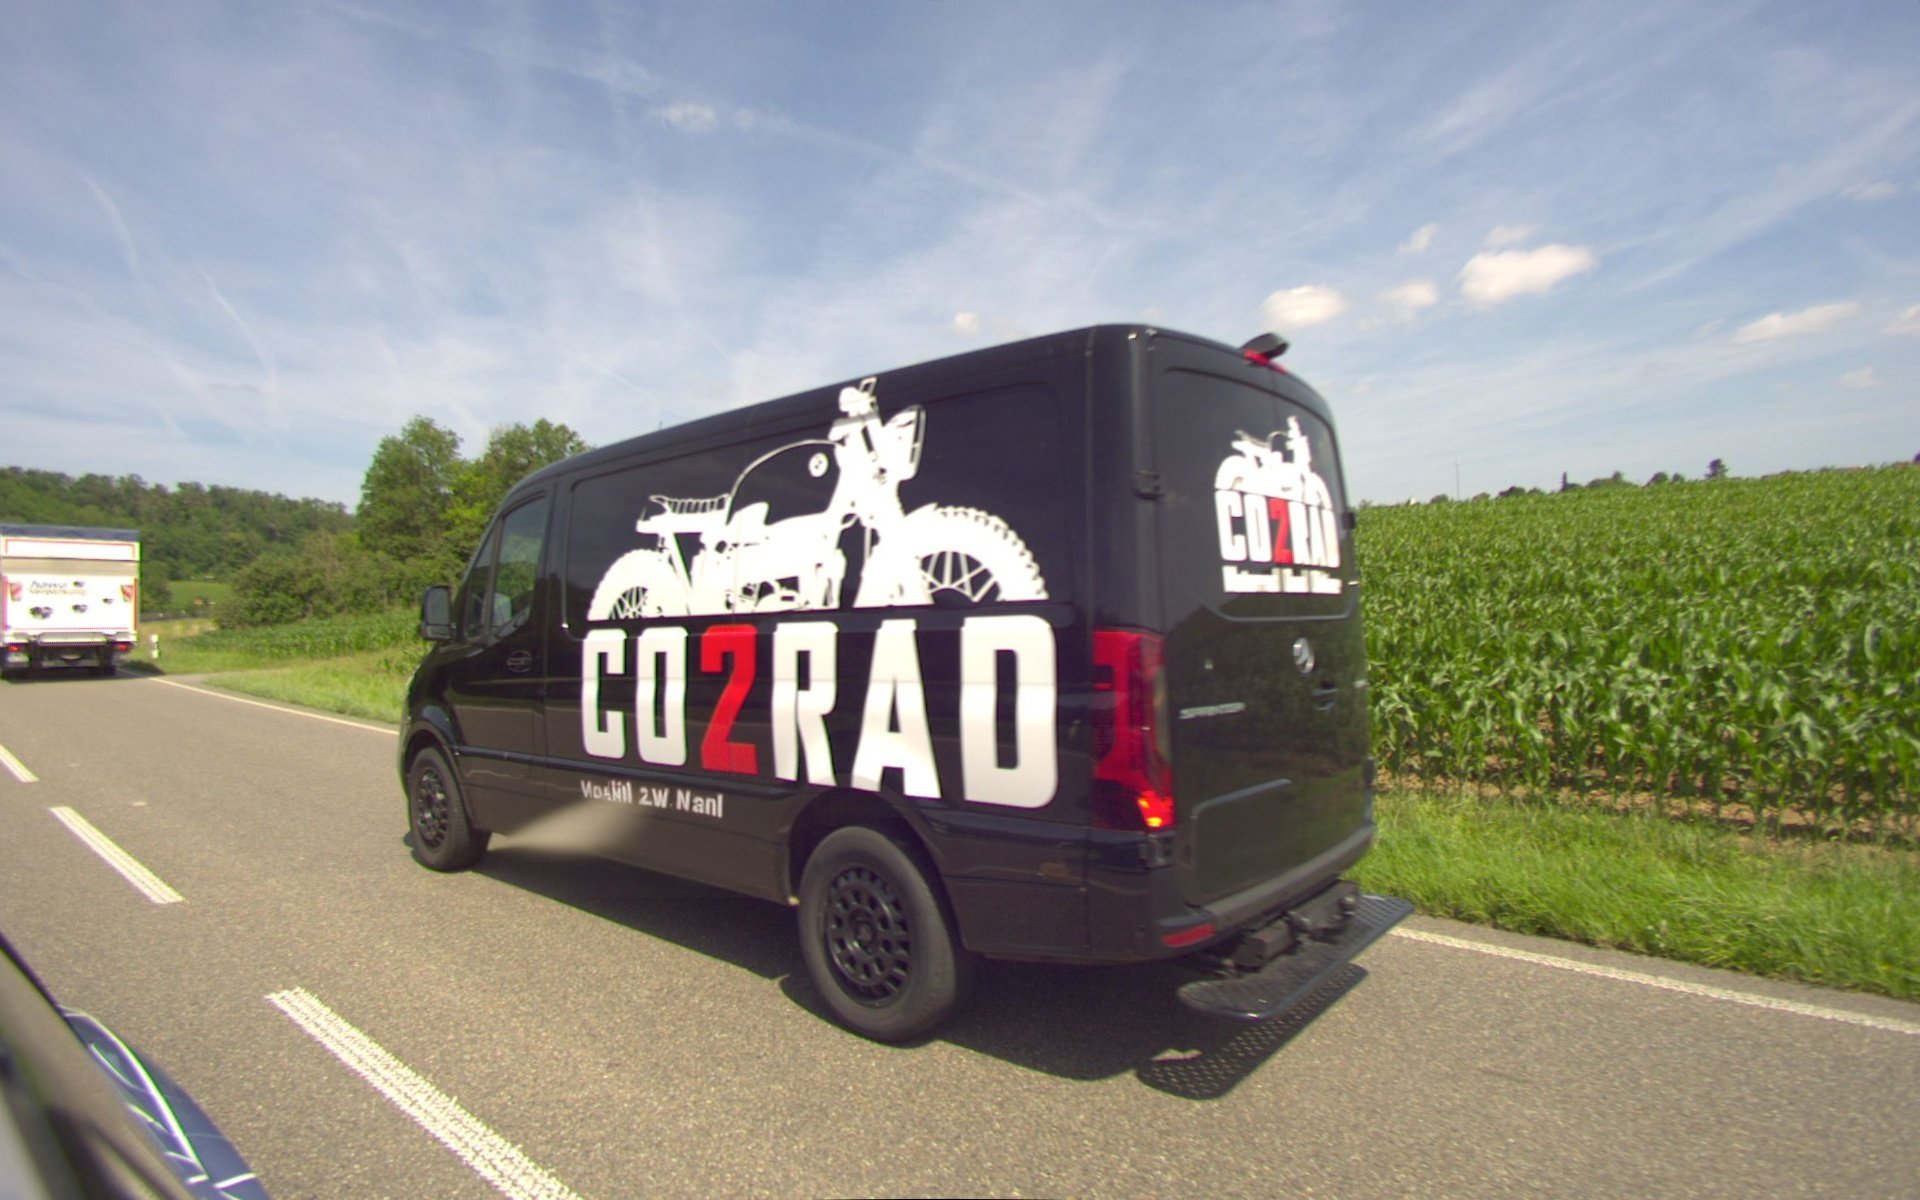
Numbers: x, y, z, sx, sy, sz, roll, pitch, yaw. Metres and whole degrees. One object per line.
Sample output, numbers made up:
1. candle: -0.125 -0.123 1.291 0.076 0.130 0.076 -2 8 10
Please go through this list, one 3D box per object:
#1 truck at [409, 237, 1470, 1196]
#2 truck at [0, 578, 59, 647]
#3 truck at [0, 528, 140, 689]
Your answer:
1. truck: -0.609 0.318 4.939 5.189 2.337 1.989 -1 -1 41
2. truck: -60.924 0.878 66.377 2.737 4.029 17.049 0 -1 -42
3. truck: -24.331 0.264 26.985 9.729 3.606 2.710 -1 -1 44
